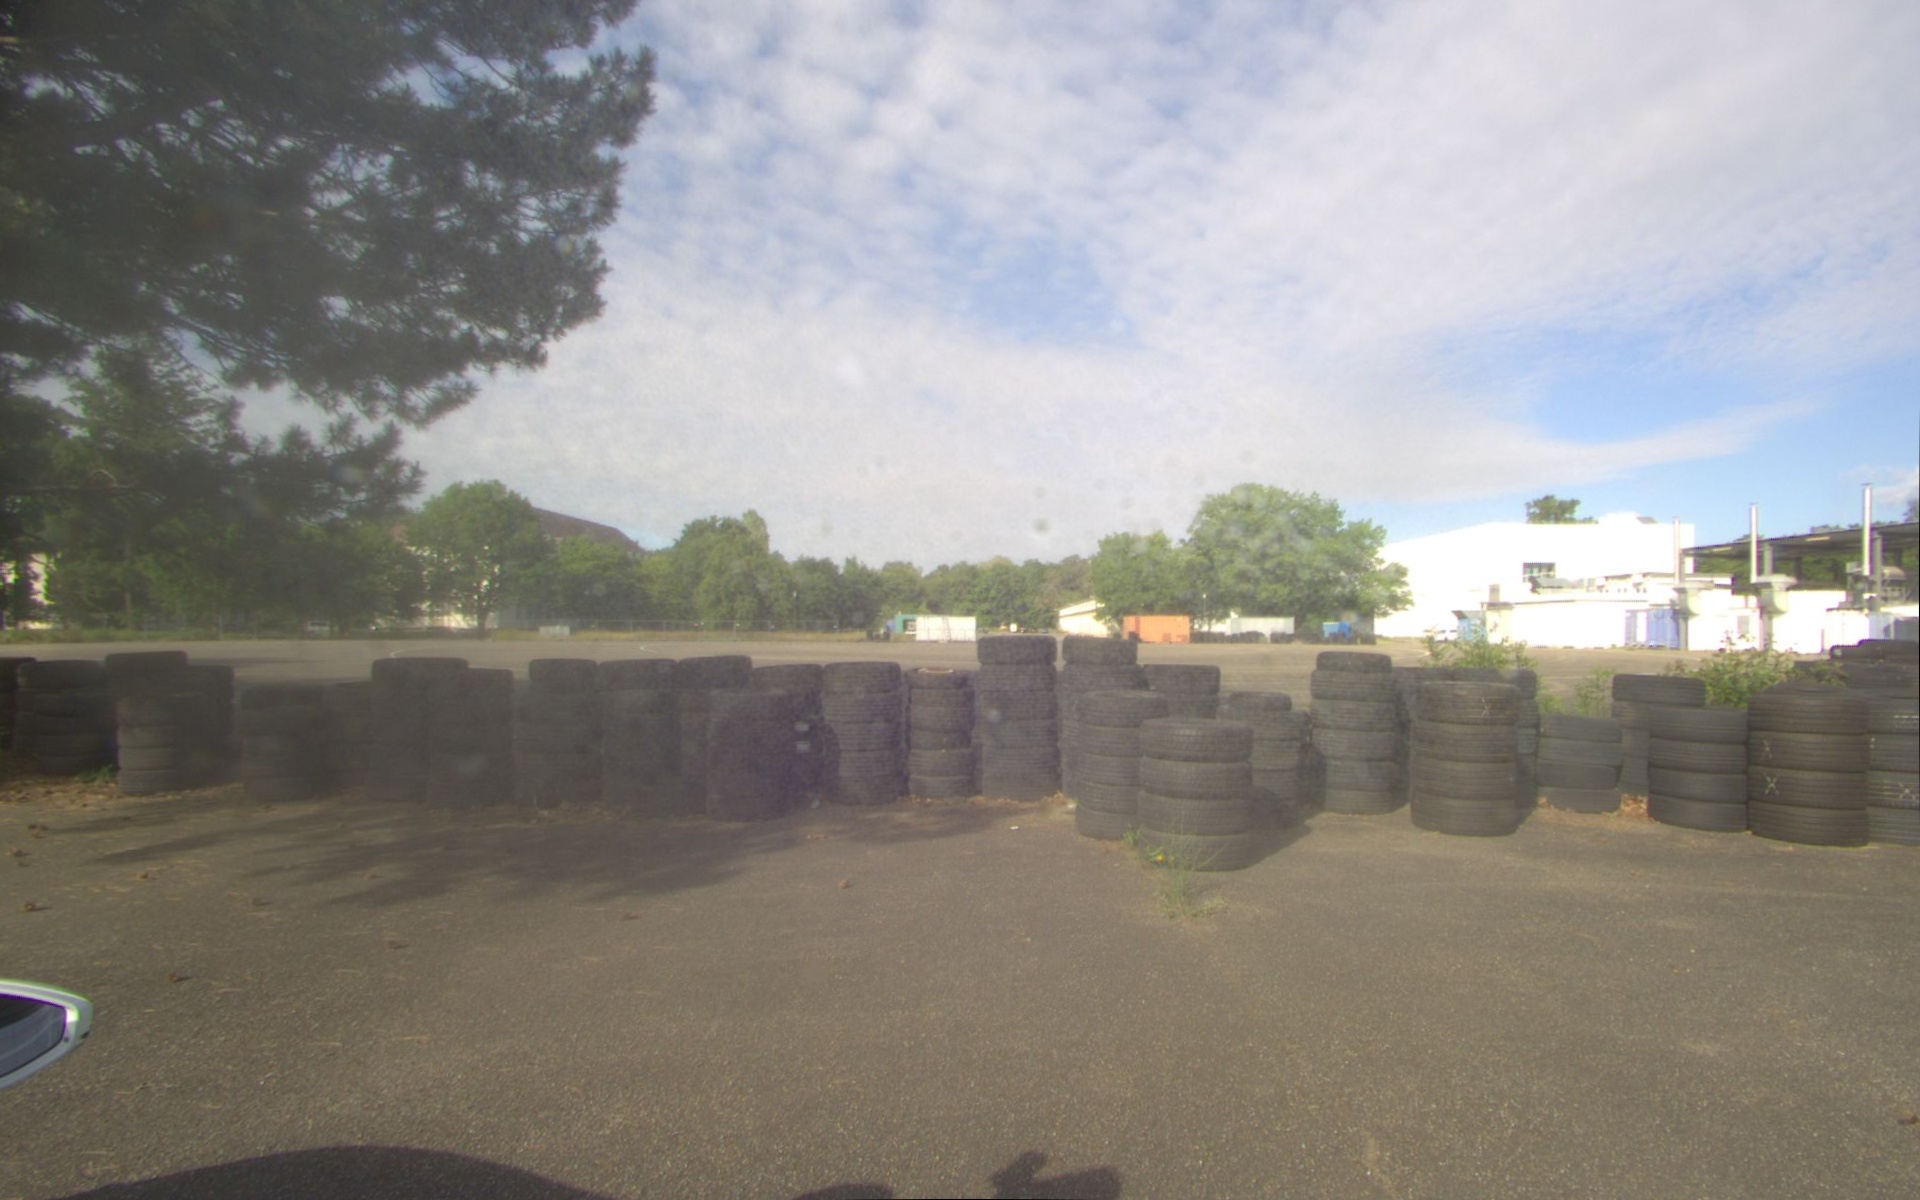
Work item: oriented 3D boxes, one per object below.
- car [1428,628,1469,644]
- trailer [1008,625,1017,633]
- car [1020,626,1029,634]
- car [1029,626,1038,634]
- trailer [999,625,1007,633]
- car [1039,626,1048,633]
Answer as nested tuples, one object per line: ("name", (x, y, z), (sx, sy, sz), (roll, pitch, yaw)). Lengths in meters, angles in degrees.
("car", (48.574, 3.561, 99.689), (1.838, 1.584, 4.549), (0, -1, 0))
("trailer", (13.041, 7.226, 248.299), (2.024, 2.039, 4.001), (1, -1, 1))
("car", (15.807, 7.339, 246.560), (1.961, 1.772, 4.001), (1, -1, -1))
("car", (18.045, 7.330, 246.671), (1.998, 1.832, 4.001), (0, -1, -1))
("trailer", (10.659, 7.195, 249.721), (1.961, 2.039, 4.001), (1, -1, 0))
("car", (20.542, 7.252, 246.587), (1.961, 1.772, 4.001), (1, -1, -1))
